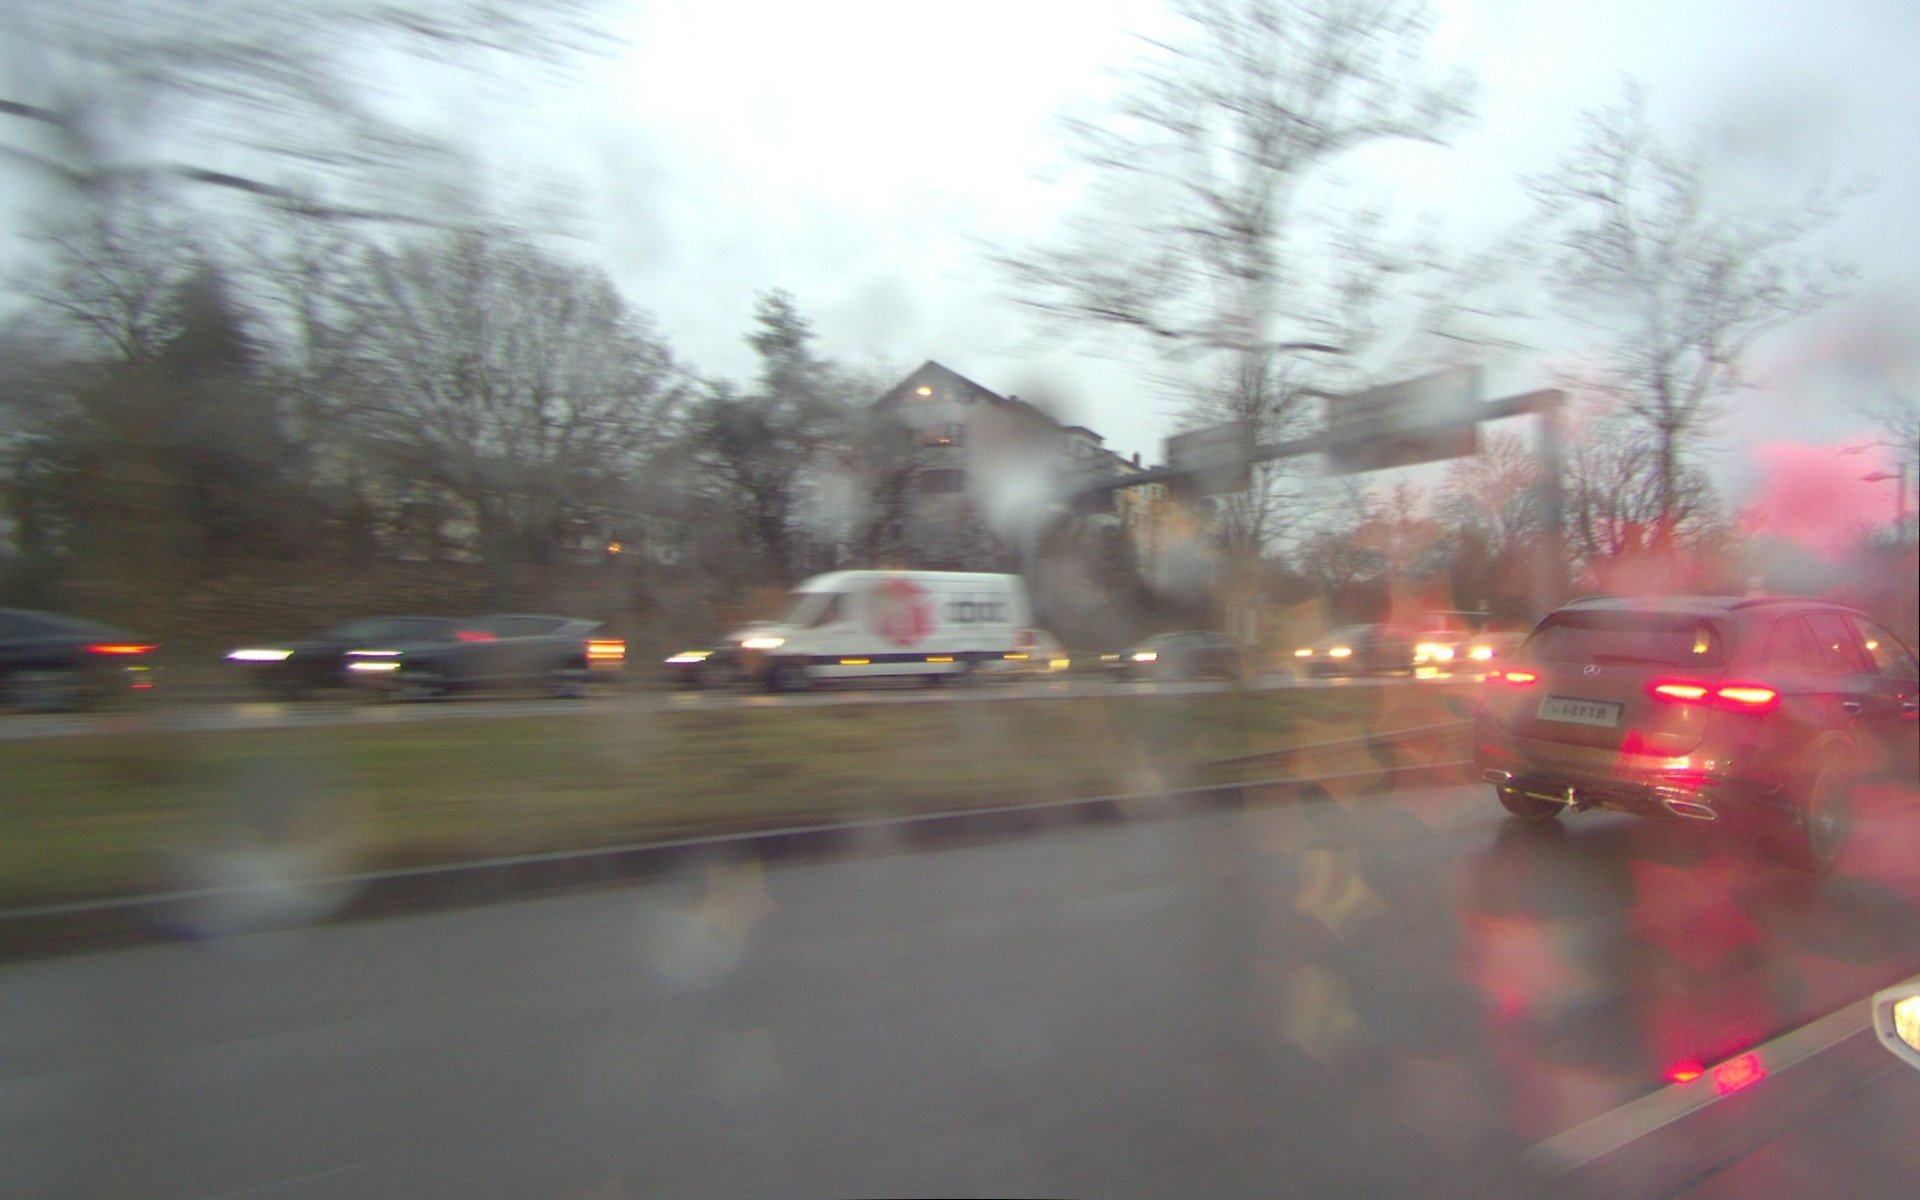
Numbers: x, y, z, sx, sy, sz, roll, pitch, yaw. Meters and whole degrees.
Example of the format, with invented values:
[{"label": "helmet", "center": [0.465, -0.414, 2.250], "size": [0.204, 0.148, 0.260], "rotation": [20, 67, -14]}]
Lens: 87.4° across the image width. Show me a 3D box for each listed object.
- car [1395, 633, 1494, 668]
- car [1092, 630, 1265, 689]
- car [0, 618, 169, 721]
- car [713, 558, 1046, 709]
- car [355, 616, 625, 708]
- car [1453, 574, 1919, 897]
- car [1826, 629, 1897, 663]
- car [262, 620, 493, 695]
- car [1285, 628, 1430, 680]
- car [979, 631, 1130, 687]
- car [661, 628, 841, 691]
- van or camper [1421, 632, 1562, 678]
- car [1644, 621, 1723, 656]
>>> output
[{"label": "car", "center": [21.786, 2.277, 45.159], "size": [4.391, 1.466, 1.895], "rotation": [2, -1, -31]}, {"label": "car", "center": [5.957, 1.587, 27.385], "size": [4.397, 1.466, 1.898], "rotation": [2, -1, -26]}, {"label": "car", "center": [-15.092, 1.033, 15.257], "size": [4.596, 1.509, 1.761], "rotation": [1, -2, -31]}, {"label": "car", "center": [-1.708, 0.795, 22.990], "size": [7.258, 3.044, 2.281], "rotation": [2, -1, -29]}, {"label": "car", "center": [-8.703, 1.100, 18.791], "size": [4.392, 1.557, 1.762], "rotation": [1, -2, -29]}, {"label": "car", "center": [5.657, 0.770, 7.140], "size": [4.416, 1.669, 1.813], "rotation": [2, -2, -32]}, {"label": "car", "center": [45.813, 2.324, 51.034], "size": [3.534, 1.648, 1.775], "rotation": [1, -1, -32]}, {"label": "car", "center": [-11.954, 1.153, 20.811], "size": [3.954, 1.416, 1.747], "rotation": [2, -2, -31]}, {"label": "car", "center": [12.278, 1.641, 30.964], "size": [4.391, 1.465, 1.895], "rotation": [2, -1, -31]}, {"label": "car", "center": [2.773, 1.688, 29.200], "size": [4.042, 1.466, 1.895], "rotation": [2, -1, -30]}, {"label": "car", "center": [-5.083, 1.409, 24.509], "size": [3.954, 1.416, 1.747], "rotation": [2, -2, -31]}, {"label": "van or camper", "center": [18.283, 1.866, 34.472], "size": [5.098, 1.466, 1.895], "rotation": [2, -1, -31]}, {"label": "car", "center": [41.224, 2.174, 57.213], "size": [4.373, 1.876, 1.985], "rotation": [1, -1, -29]}]
